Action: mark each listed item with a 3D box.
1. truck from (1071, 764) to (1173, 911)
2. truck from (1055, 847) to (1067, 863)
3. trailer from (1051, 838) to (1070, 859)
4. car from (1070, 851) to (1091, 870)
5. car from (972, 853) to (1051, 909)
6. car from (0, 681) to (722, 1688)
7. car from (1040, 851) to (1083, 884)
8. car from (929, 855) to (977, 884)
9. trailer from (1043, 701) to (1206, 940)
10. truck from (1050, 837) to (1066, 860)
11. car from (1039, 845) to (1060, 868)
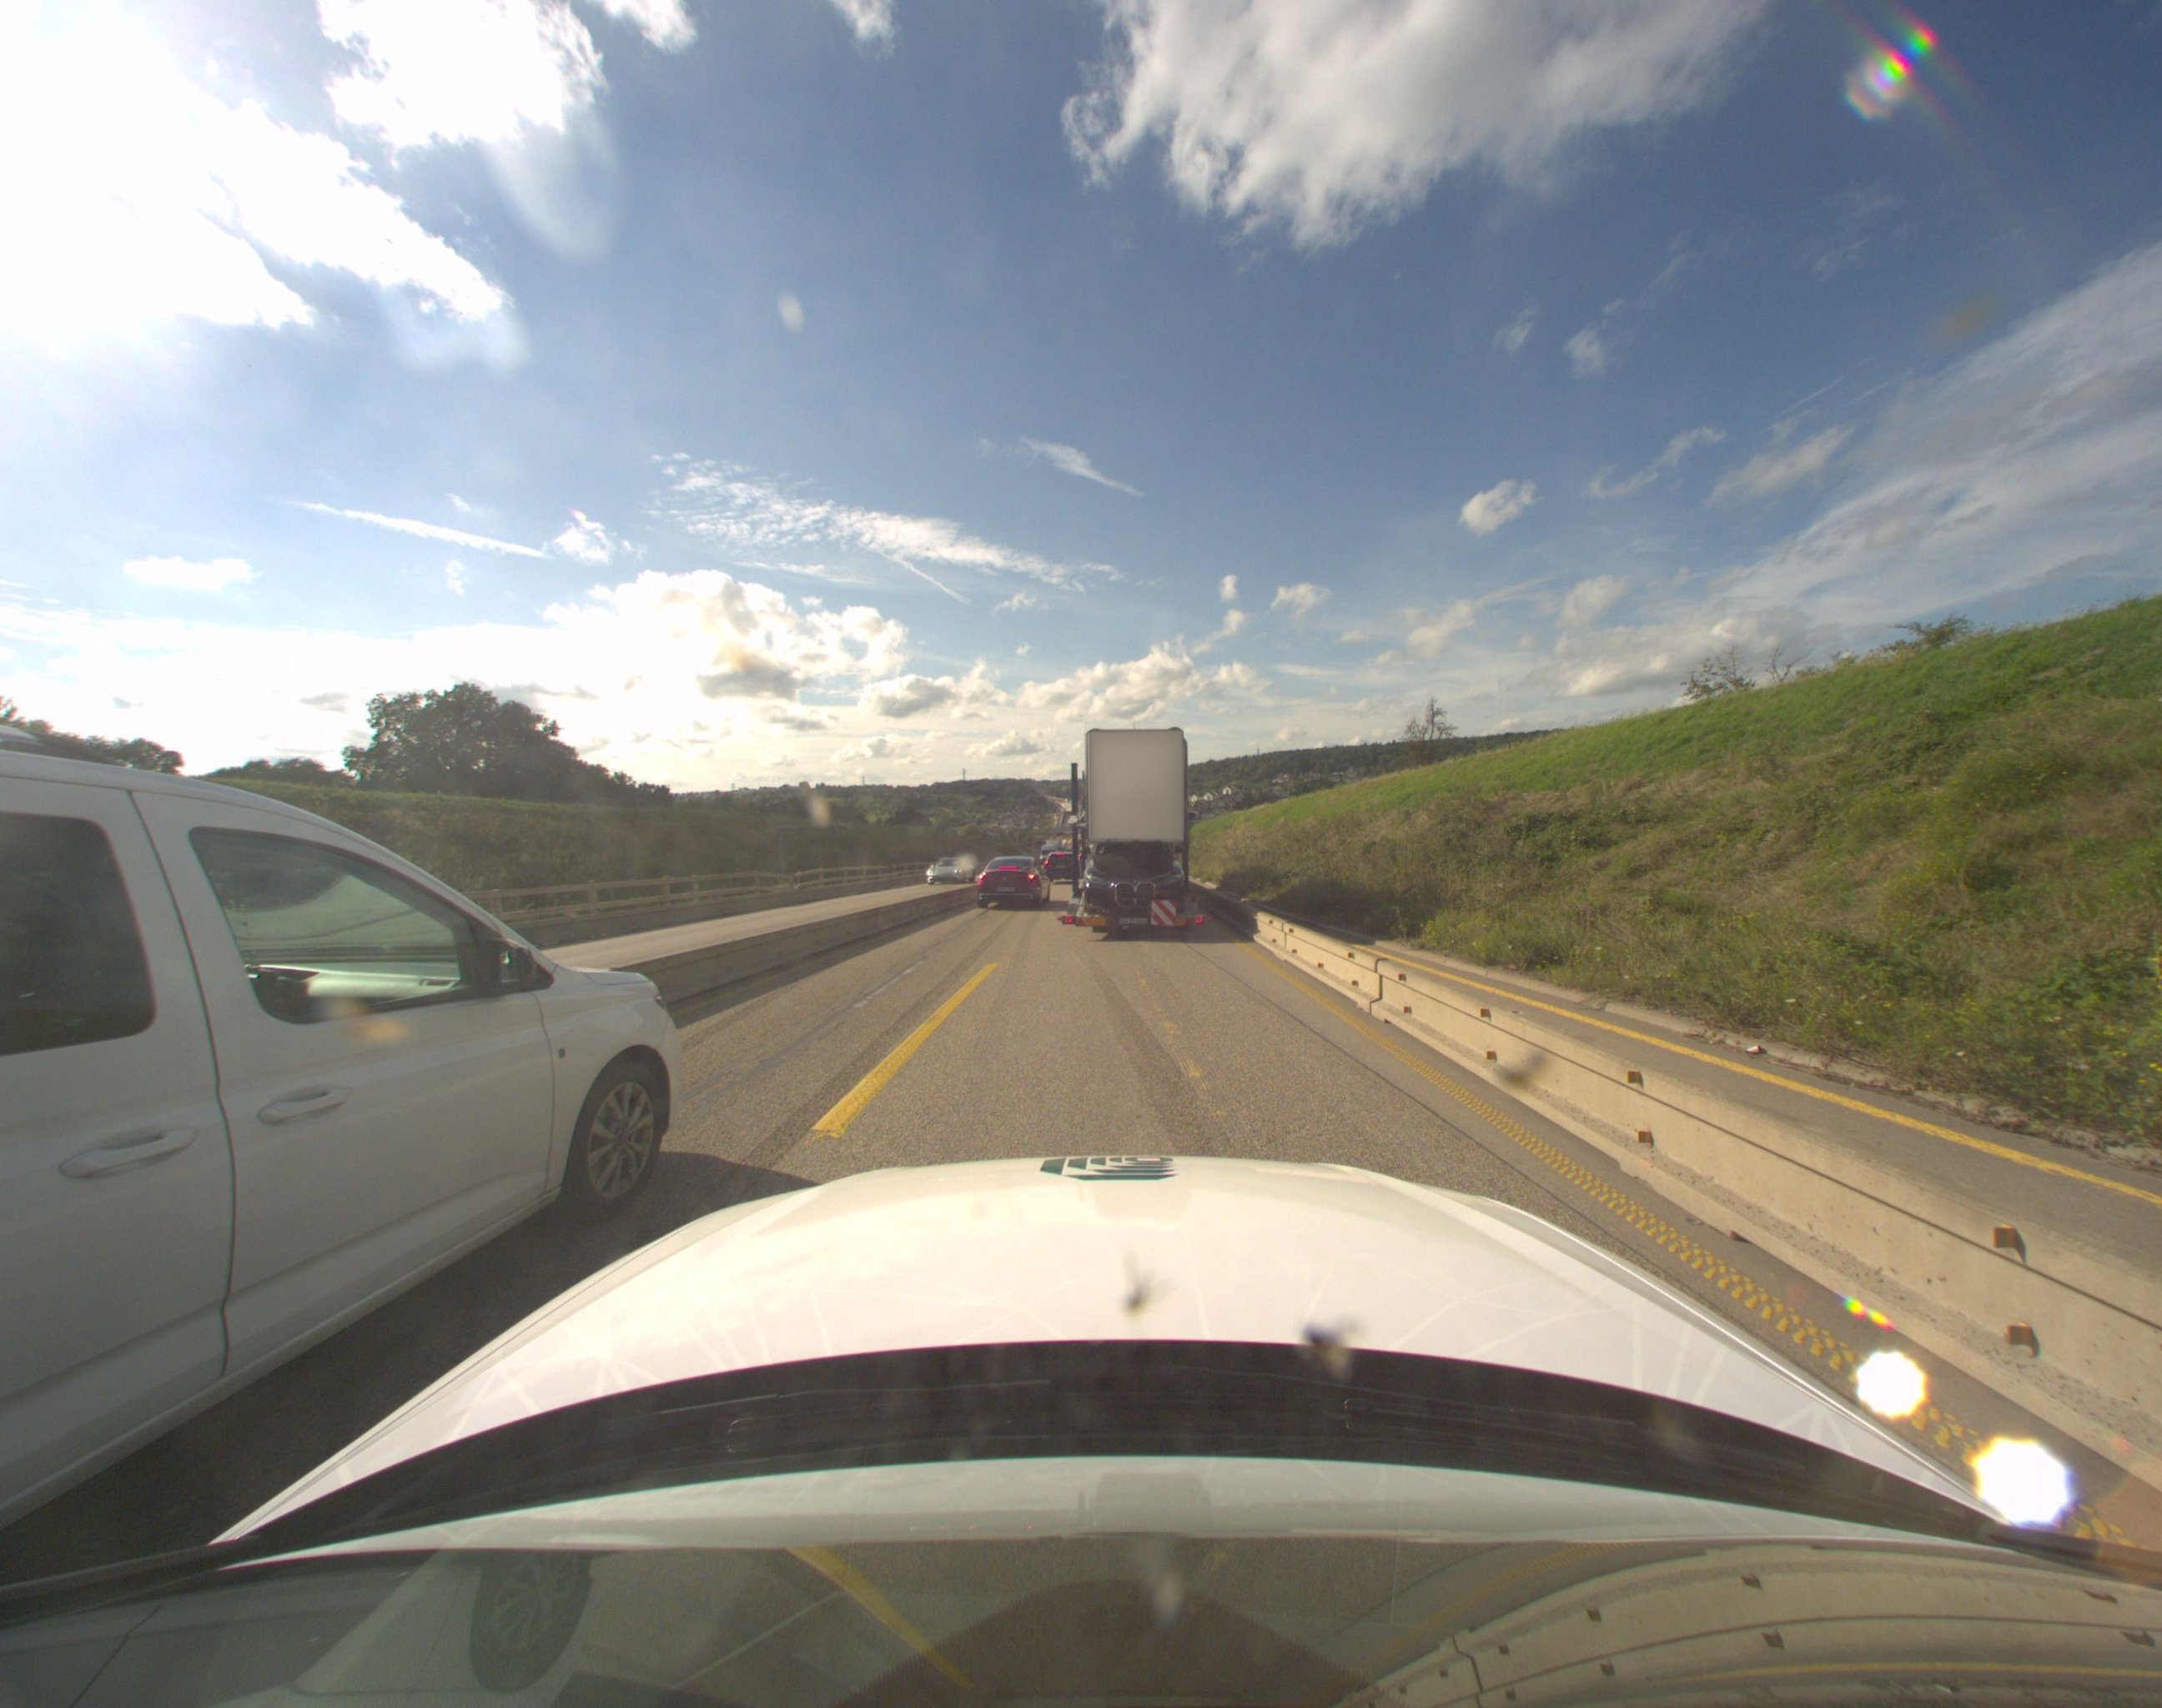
[{"bbox_3d":[1.304,-0.461,25.184,2.666,3.922,6.033,-1,0,3],"label":"truck"},{"bbox_3d":[-5.024,0.231,210.978,2.629,4.099,10.819,-1,0,1],"label":"truck"},{"bbox_3d":[-3.923,-1.003,158.622,2.604,3.953,13.881,-1,0,2],"label":"trailer"},{"bbox_3d":[-0.001,0.556,73.833,1.790,1.596,4.743,-2,0,1],"label":"car"},{"bbox_3d":[-1.996,0.749,24.656,1.816,1.492,4.687,0,0,2],"label":"car"},{"bbox_3d":[-2.847,0.597,1.952,1.816,1.823,4.459,0,0,3],"label":"car"},{"bbox_3d":[-0.978,0.670,42.997,1.986,1.625,4.752,0,0,2],"label":"car"},{"bbox_3d":[-7.000,0.809,44.911,1.728,1.425,4.628,-4,0,1],"label":"car"},{"bbox_3d":[1.003,-0.582,19.692,2.697,4.029,11.427,-1,0,3],"label":"trailer"},{"bbox_3d":[-4.222,-1.048,151.479,2.605,4.153,5.783,-1,0,1],"label":"truck"},{"bbox_3d":[-4.129,0.295,108.196,2.101,2.835,6.142,-4,0,2],"label":"car"}]
